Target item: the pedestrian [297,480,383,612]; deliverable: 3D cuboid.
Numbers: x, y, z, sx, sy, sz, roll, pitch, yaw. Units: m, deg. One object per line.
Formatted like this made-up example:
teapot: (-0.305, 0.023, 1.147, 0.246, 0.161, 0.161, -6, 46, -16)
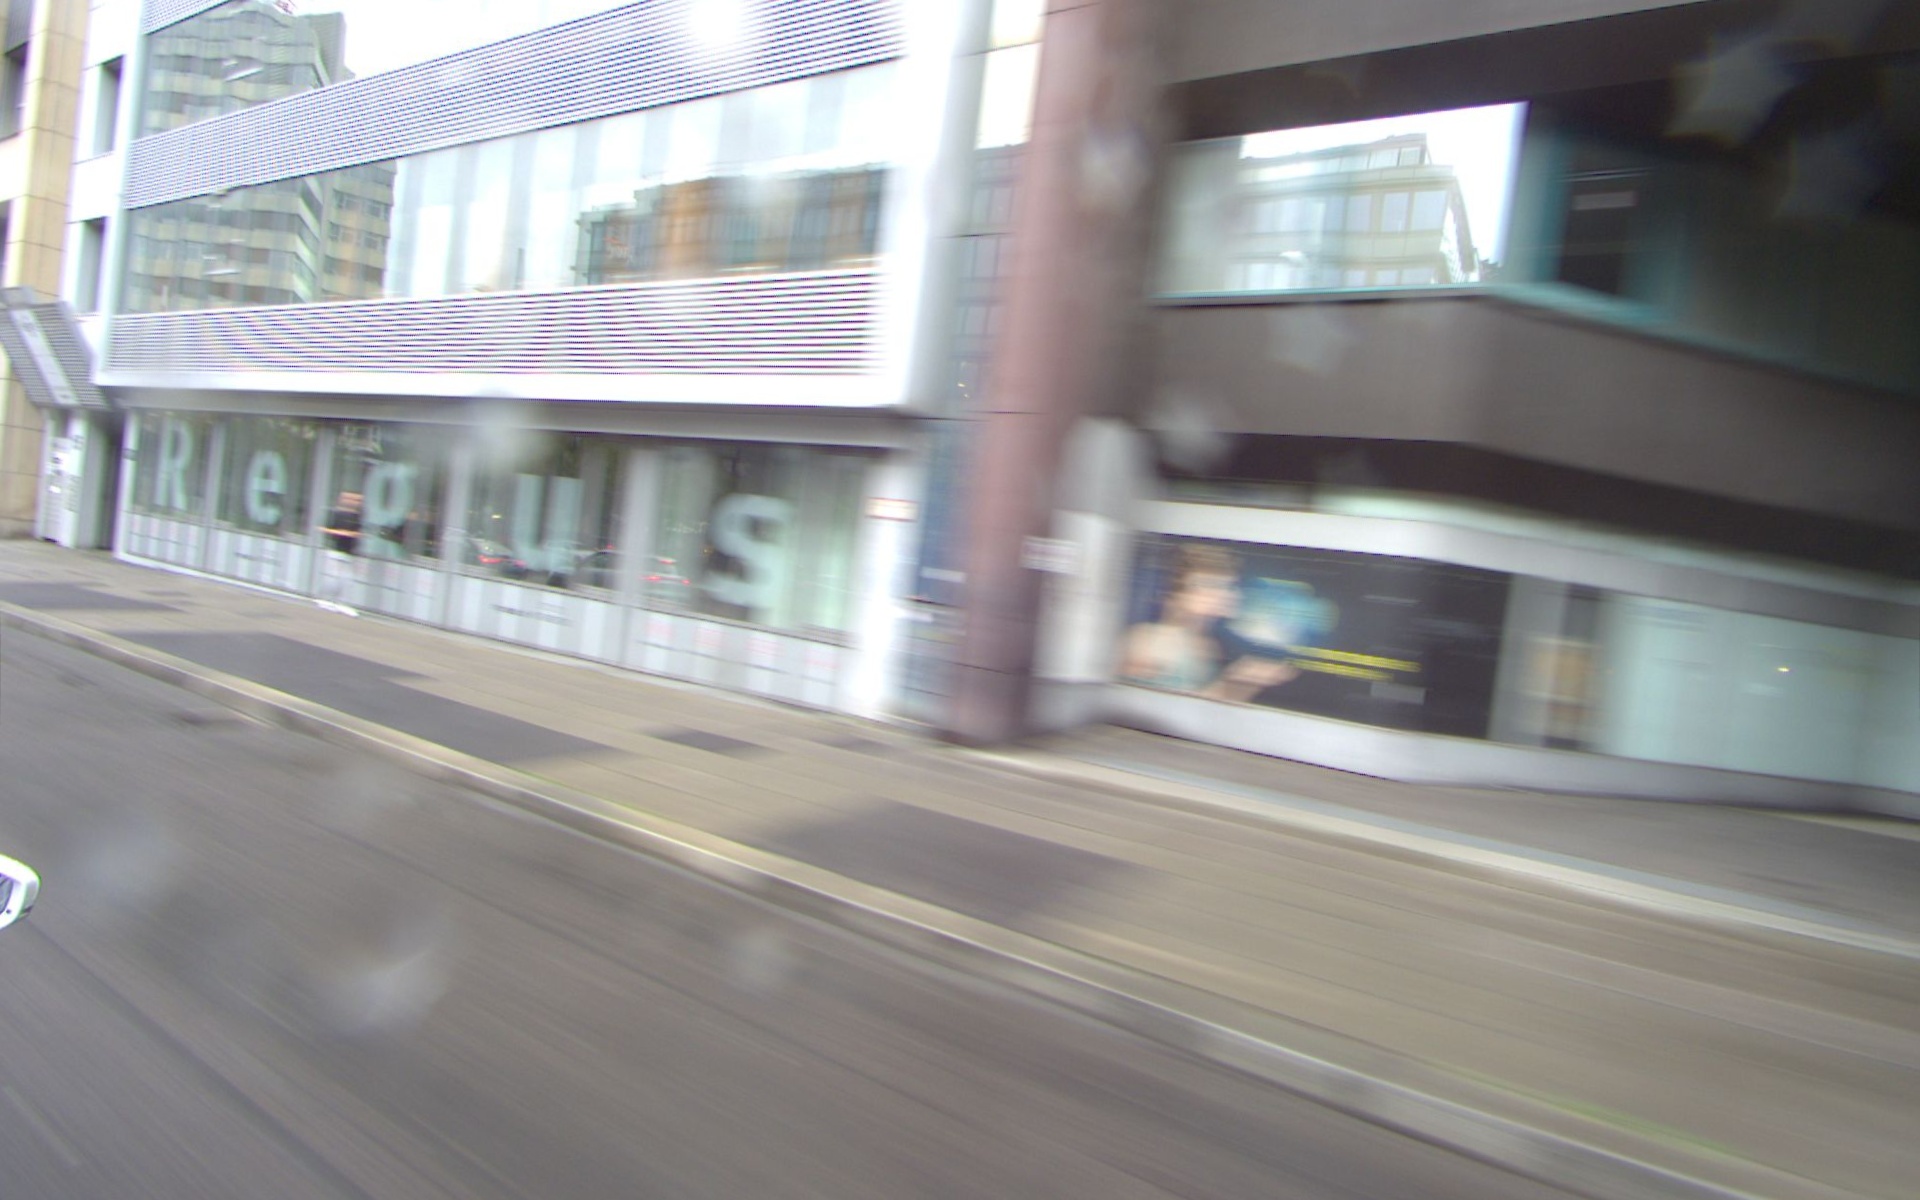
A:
pedestrian: (-8.965, -0.779, 14.554, 0.776, 1.795, 0.636, 7, 1, 32)
